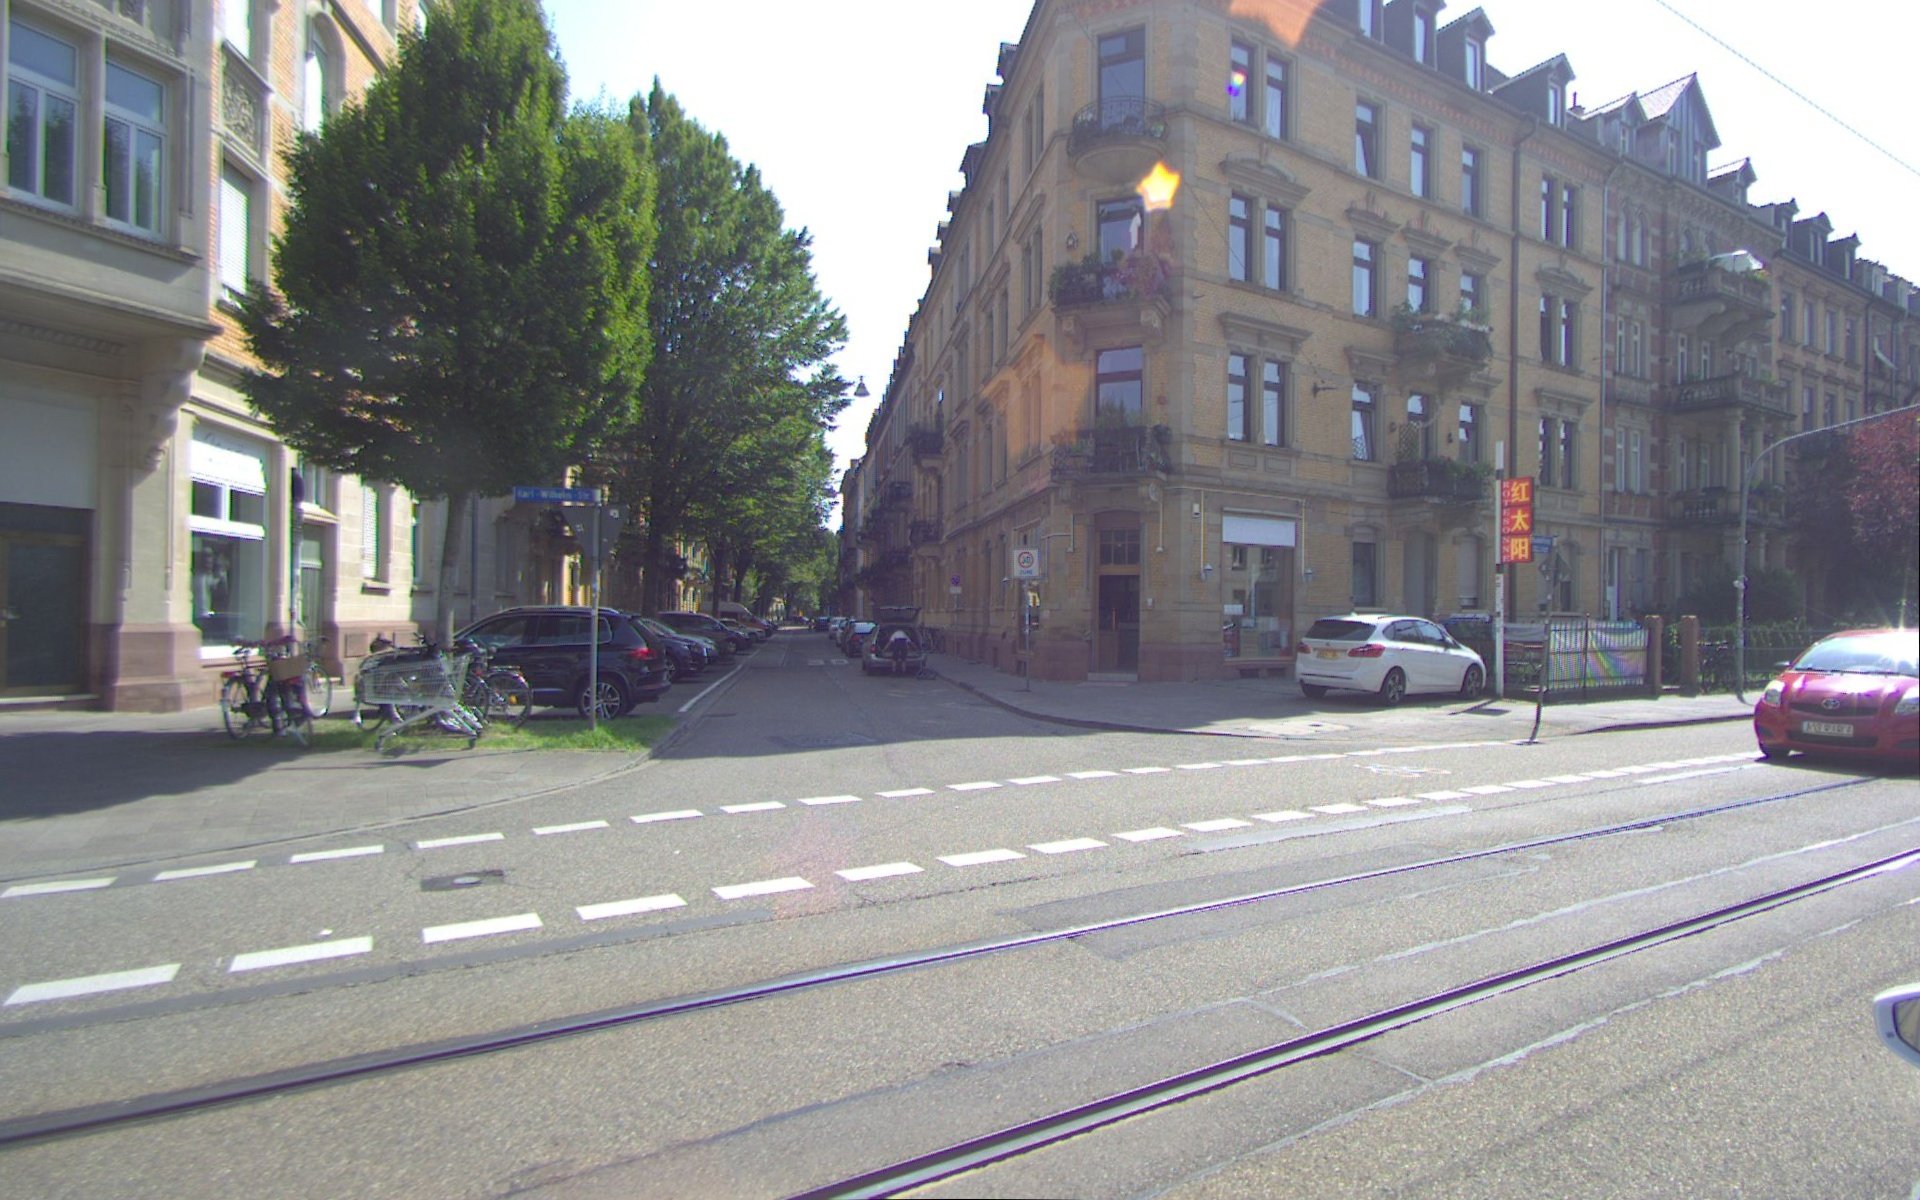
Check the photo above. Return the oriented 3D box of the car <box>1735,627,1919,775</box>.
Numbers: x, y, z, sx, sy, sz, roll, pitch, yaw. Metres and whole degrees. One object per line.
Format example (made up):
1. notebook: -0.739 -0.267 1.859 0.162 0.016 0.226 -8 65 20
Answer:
1. car: 11.062 1.076 11.896 3.956 1.510 1.723 1 -2 -32

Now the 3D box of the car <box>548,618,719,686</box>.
1. car: -7.889 1.257 24.599 3.691 1.496 1.790 2 -2 -10

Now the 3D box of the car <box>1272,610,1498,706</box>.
1. car: 8.083 1.039 18.995 4.316 1.615 1.981 2 -2 -35

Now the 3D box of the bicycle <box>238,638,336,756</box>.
1. bicycle: -6.997 0.975 10.429 1.428 1.113 0.389 0 0 37

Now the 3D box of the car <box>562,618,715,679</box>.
1. car: -8.707 1.309 27.484 3.691 1.496 1.790 2 -2 -10

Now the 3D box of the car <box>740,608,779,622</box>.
1. car: -20.727 1.573 103.965 3.931 1.364 1.789 2 -2 -12

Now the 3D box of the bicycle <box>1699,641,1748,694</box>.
1. bicycle: 16.887 1.477 22.202 1.552 1.113 0.387 1 -1 -34

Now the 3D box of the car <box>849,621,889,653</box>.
1. car: -4.278 1.697 46.953 1.578 1.382 3.411 2 -2 -9

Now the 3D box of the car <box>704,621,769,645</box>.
1. car: -14.094 2.082 63.473 3.931 1.364 1.789 2 -2 -12

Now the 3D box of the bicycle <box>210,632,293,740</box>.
1. bicycle: -8.069 0.944 11.484 0.384 1.113 1.445 1 0 -19

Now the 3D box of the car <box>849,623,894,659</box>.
1. car: -3.725 1.694 41.860 1.597 1.382 3.592 2 -2 -9

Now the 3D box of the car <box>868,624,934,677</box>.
1. car: -1.774 1.433 29.308 1.741 1.382 3.712 2 -2 -5

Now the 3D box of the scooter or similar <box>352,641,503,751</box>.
1. scooter or similar: -5.729 1.010 10.882 1.368 1.113 0.595 1 0 -21

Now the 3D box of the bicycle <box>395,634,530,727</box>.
1. bicycle: -6.106 0.984 12.357 1.424 1.113 0.390 1 0 -6

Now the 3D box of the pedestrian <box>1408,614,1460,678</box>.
1. pedestrian: 11.717 1.130 24.837 0.879 1.531 0.860 1 -1 -39

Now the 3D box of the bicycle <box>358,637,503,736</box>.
1. bicycle: -6.116 0.995 11.638 1.424 1.113 0.390 1 0 -6

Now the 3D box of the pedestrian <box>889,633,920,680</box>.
1. pedestrian: -1.529 1.534 27.414 0.787 1.243 0.583 2 -1 -6

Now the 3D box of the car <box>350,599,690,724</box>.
1. car: -6.360 0.894 15.066 4.281 1.711 1.997 1 -1 -10

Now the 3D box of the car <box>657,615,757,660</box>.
1. car: -11.114 1.671 44.356 4.114 1.816 1.789 2 -1 -12

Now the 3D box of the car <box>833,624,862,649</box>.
1. car: -6.482 2.087 57.710 1.474 1.327 3.326 2 -2 -9

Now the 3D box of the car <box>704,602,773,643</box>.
1. car: -14.628 1.511 66.447 4.302 2.508 1.961 2 -1 -12

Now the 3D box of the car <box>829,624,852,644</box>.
1. car: -8.472 2.397 71.228 1.474 1.327 3.326 2 -2 -9

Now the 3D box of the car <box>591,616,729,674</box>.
1. car: -8.879 1.342 30.017 3.691 1.563 1.790 2 -1 -10

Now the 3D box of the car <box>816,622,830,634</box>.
1. car: -15.658 3.185 114.544 1.474 1.327 3.326 2 -2 -9
